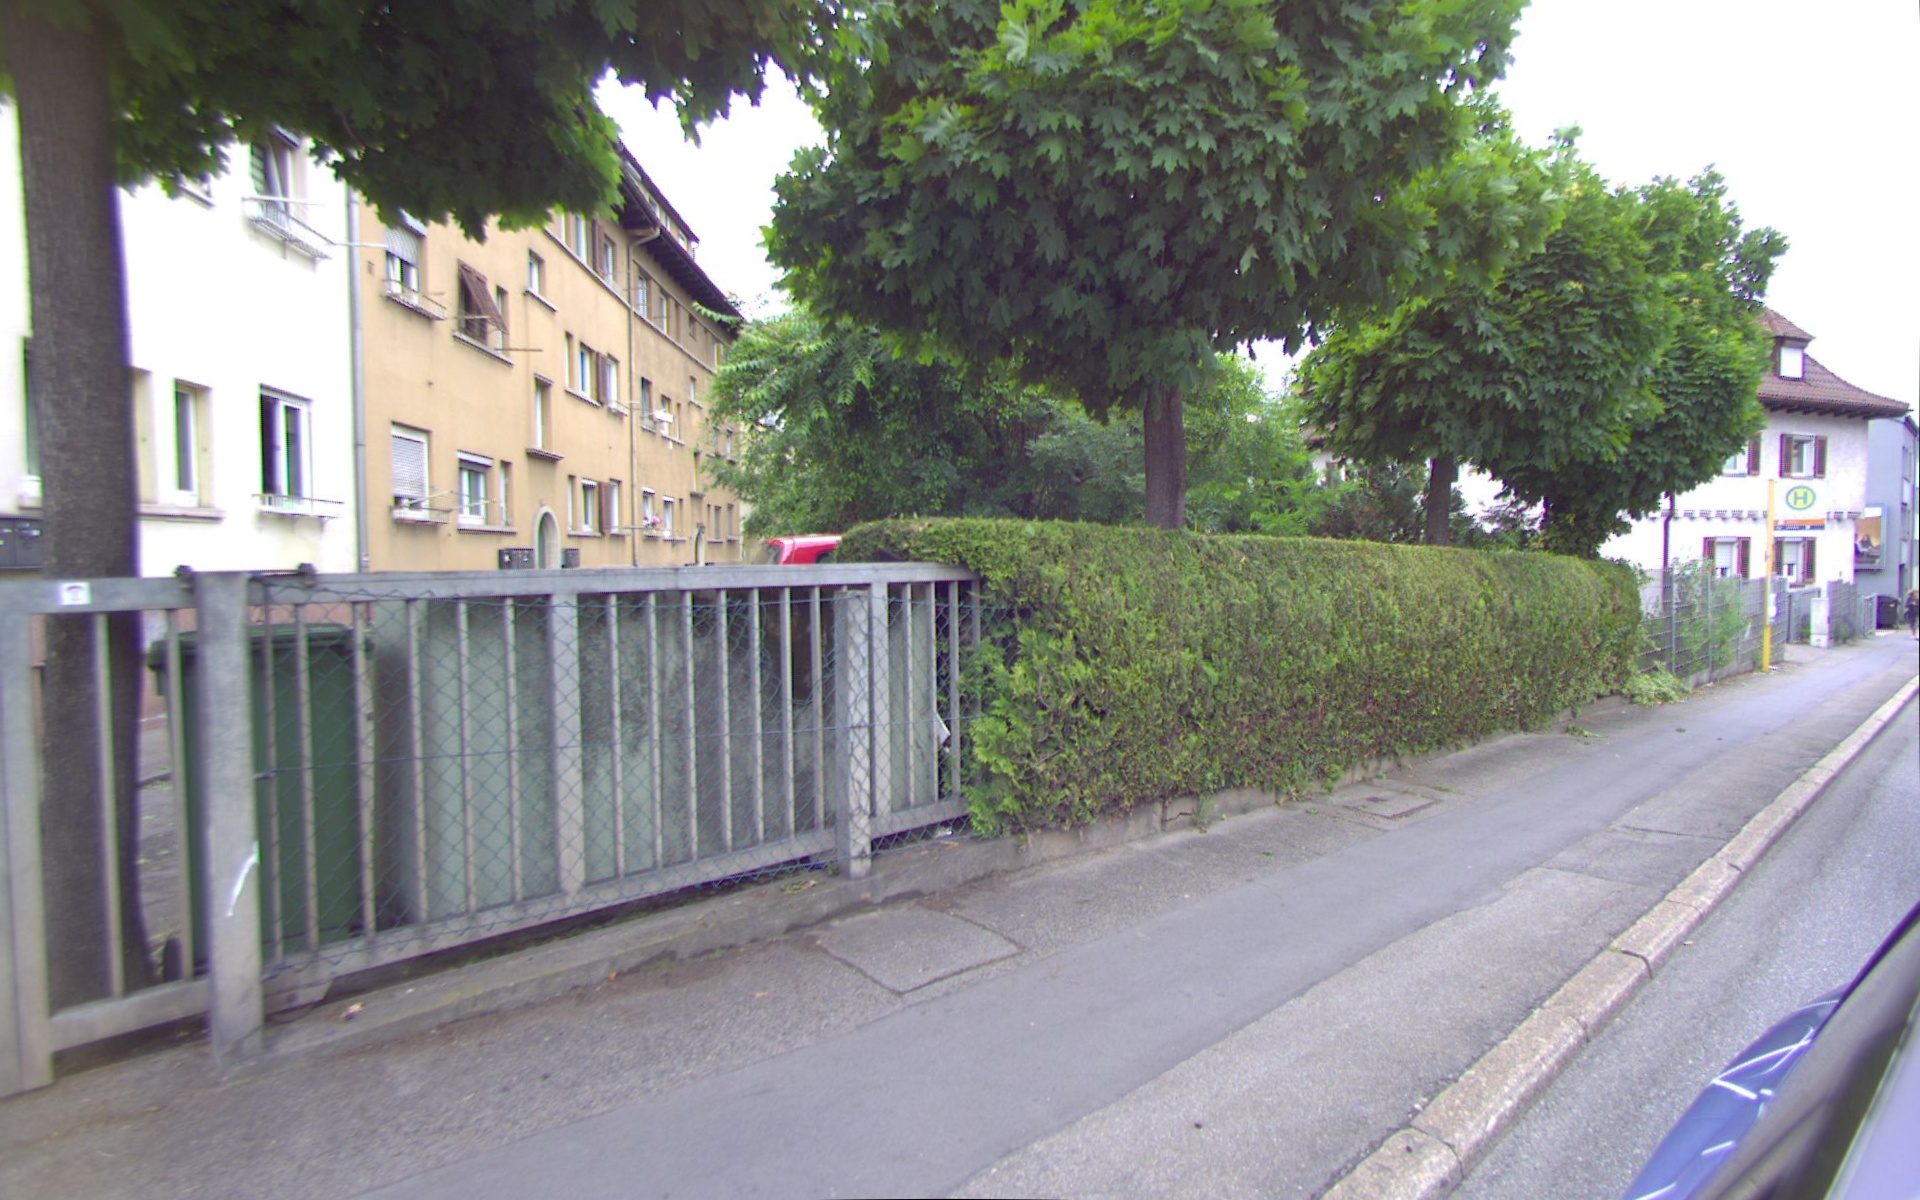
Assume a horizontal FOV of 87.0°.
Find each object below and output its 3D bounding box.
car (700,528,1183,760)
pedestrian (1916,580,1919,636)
[{"bbox_3d":[-0.200,0.254,7.845,3.367,1.478,1.705,-1,1,-20],"label":"car"},{"bbox_3d":[32.197,0.286,33.465,0.580,1.863,0.649,1,1,-19],"label":"pedestrian"}]
